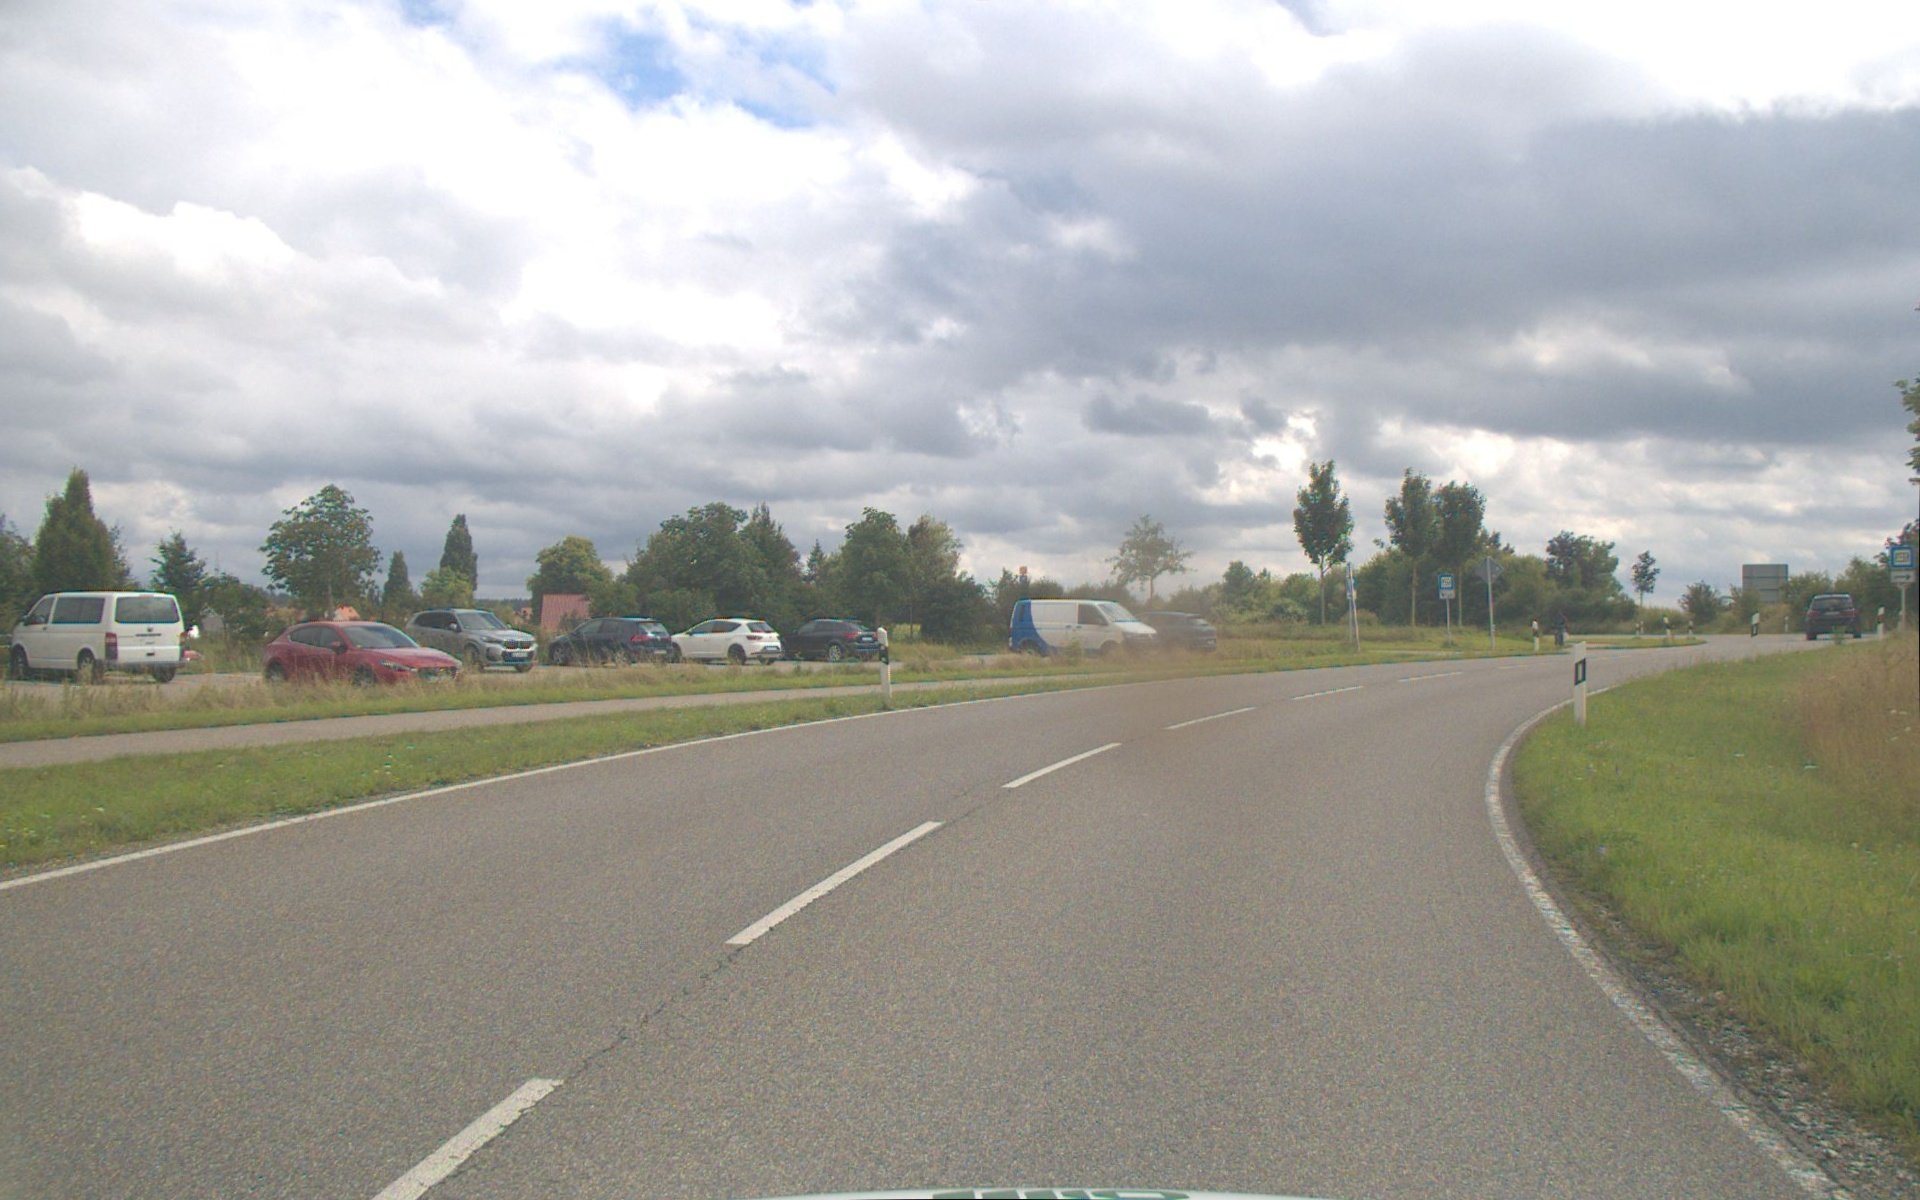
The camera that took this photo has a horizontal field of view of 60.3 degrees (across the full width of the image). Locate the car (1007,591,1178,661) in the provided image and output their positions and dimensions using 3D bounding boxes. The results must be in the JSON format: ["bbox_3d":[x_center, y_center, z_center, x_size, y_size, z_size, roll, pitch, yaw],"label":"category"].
[{"bbox_3d":[4.017,0.816,50.492,4.810,2.049,2.049,-2,-1,36],"label":"car"}]

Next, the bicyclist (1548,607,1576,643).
[{"bbox_3d":[26.798,1.120,73.601,0.818,1.593,1.050,-2,-1,40],"label":"bicyclist"}]

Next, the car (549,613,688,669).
[{"bbox_3d":[-10.116,1.178,48.969,3.921,1.579,1.958,0,0,37],"label":"car"}]

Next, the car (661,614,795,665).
[{"bbox_3d":[-7.447,1.242,53.111,3.912,1.579,1.962,0,0,30],"label":"car"}]

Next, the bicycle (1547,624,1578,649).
[{"bbox_3d":[26.766,1.622,73.479,0.625,1.050,2.181,-2,-1,38],"label":"bicycle"}]

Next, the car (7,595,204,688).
[{"bbox_3d":[-19.235,0.868,37.181,4.601,1.959,2.054,0,0,35],"label":"car"}]

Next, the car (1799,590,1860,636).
[{"bbox_3d":[33.592,0.490,63.964,1.869,1.695,3.997,1,0,25],"label":"car"}]

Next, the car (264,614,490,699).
[{"bbox_3d":[-10.625,1.013,30.044,4.291,1.441,1.806,-2,-1,37],"label":"car"}]

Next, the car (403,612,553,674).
[{"bbox_3d":[-13.008,1.143,44.569,3.921,1.579,1.958,-1,-1,37],"label":"car"}]

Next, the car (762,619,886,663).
[{"bbox_3d":[-4.700,1.390,57.015,3.912,1.412,1.839,0,0,30],"label":"car"}]

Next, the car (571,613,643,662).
[{"bbox_3d":[-11.880,1.252,55.490,1.747,1.553,3.768,0,-1,-22],"label":"car"}]

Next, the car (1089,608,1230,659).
[{"bbox_3d":[6.573,1.118,54.619,4.177,1.623,1.992,-2,-1,37],"label":"car"}]
